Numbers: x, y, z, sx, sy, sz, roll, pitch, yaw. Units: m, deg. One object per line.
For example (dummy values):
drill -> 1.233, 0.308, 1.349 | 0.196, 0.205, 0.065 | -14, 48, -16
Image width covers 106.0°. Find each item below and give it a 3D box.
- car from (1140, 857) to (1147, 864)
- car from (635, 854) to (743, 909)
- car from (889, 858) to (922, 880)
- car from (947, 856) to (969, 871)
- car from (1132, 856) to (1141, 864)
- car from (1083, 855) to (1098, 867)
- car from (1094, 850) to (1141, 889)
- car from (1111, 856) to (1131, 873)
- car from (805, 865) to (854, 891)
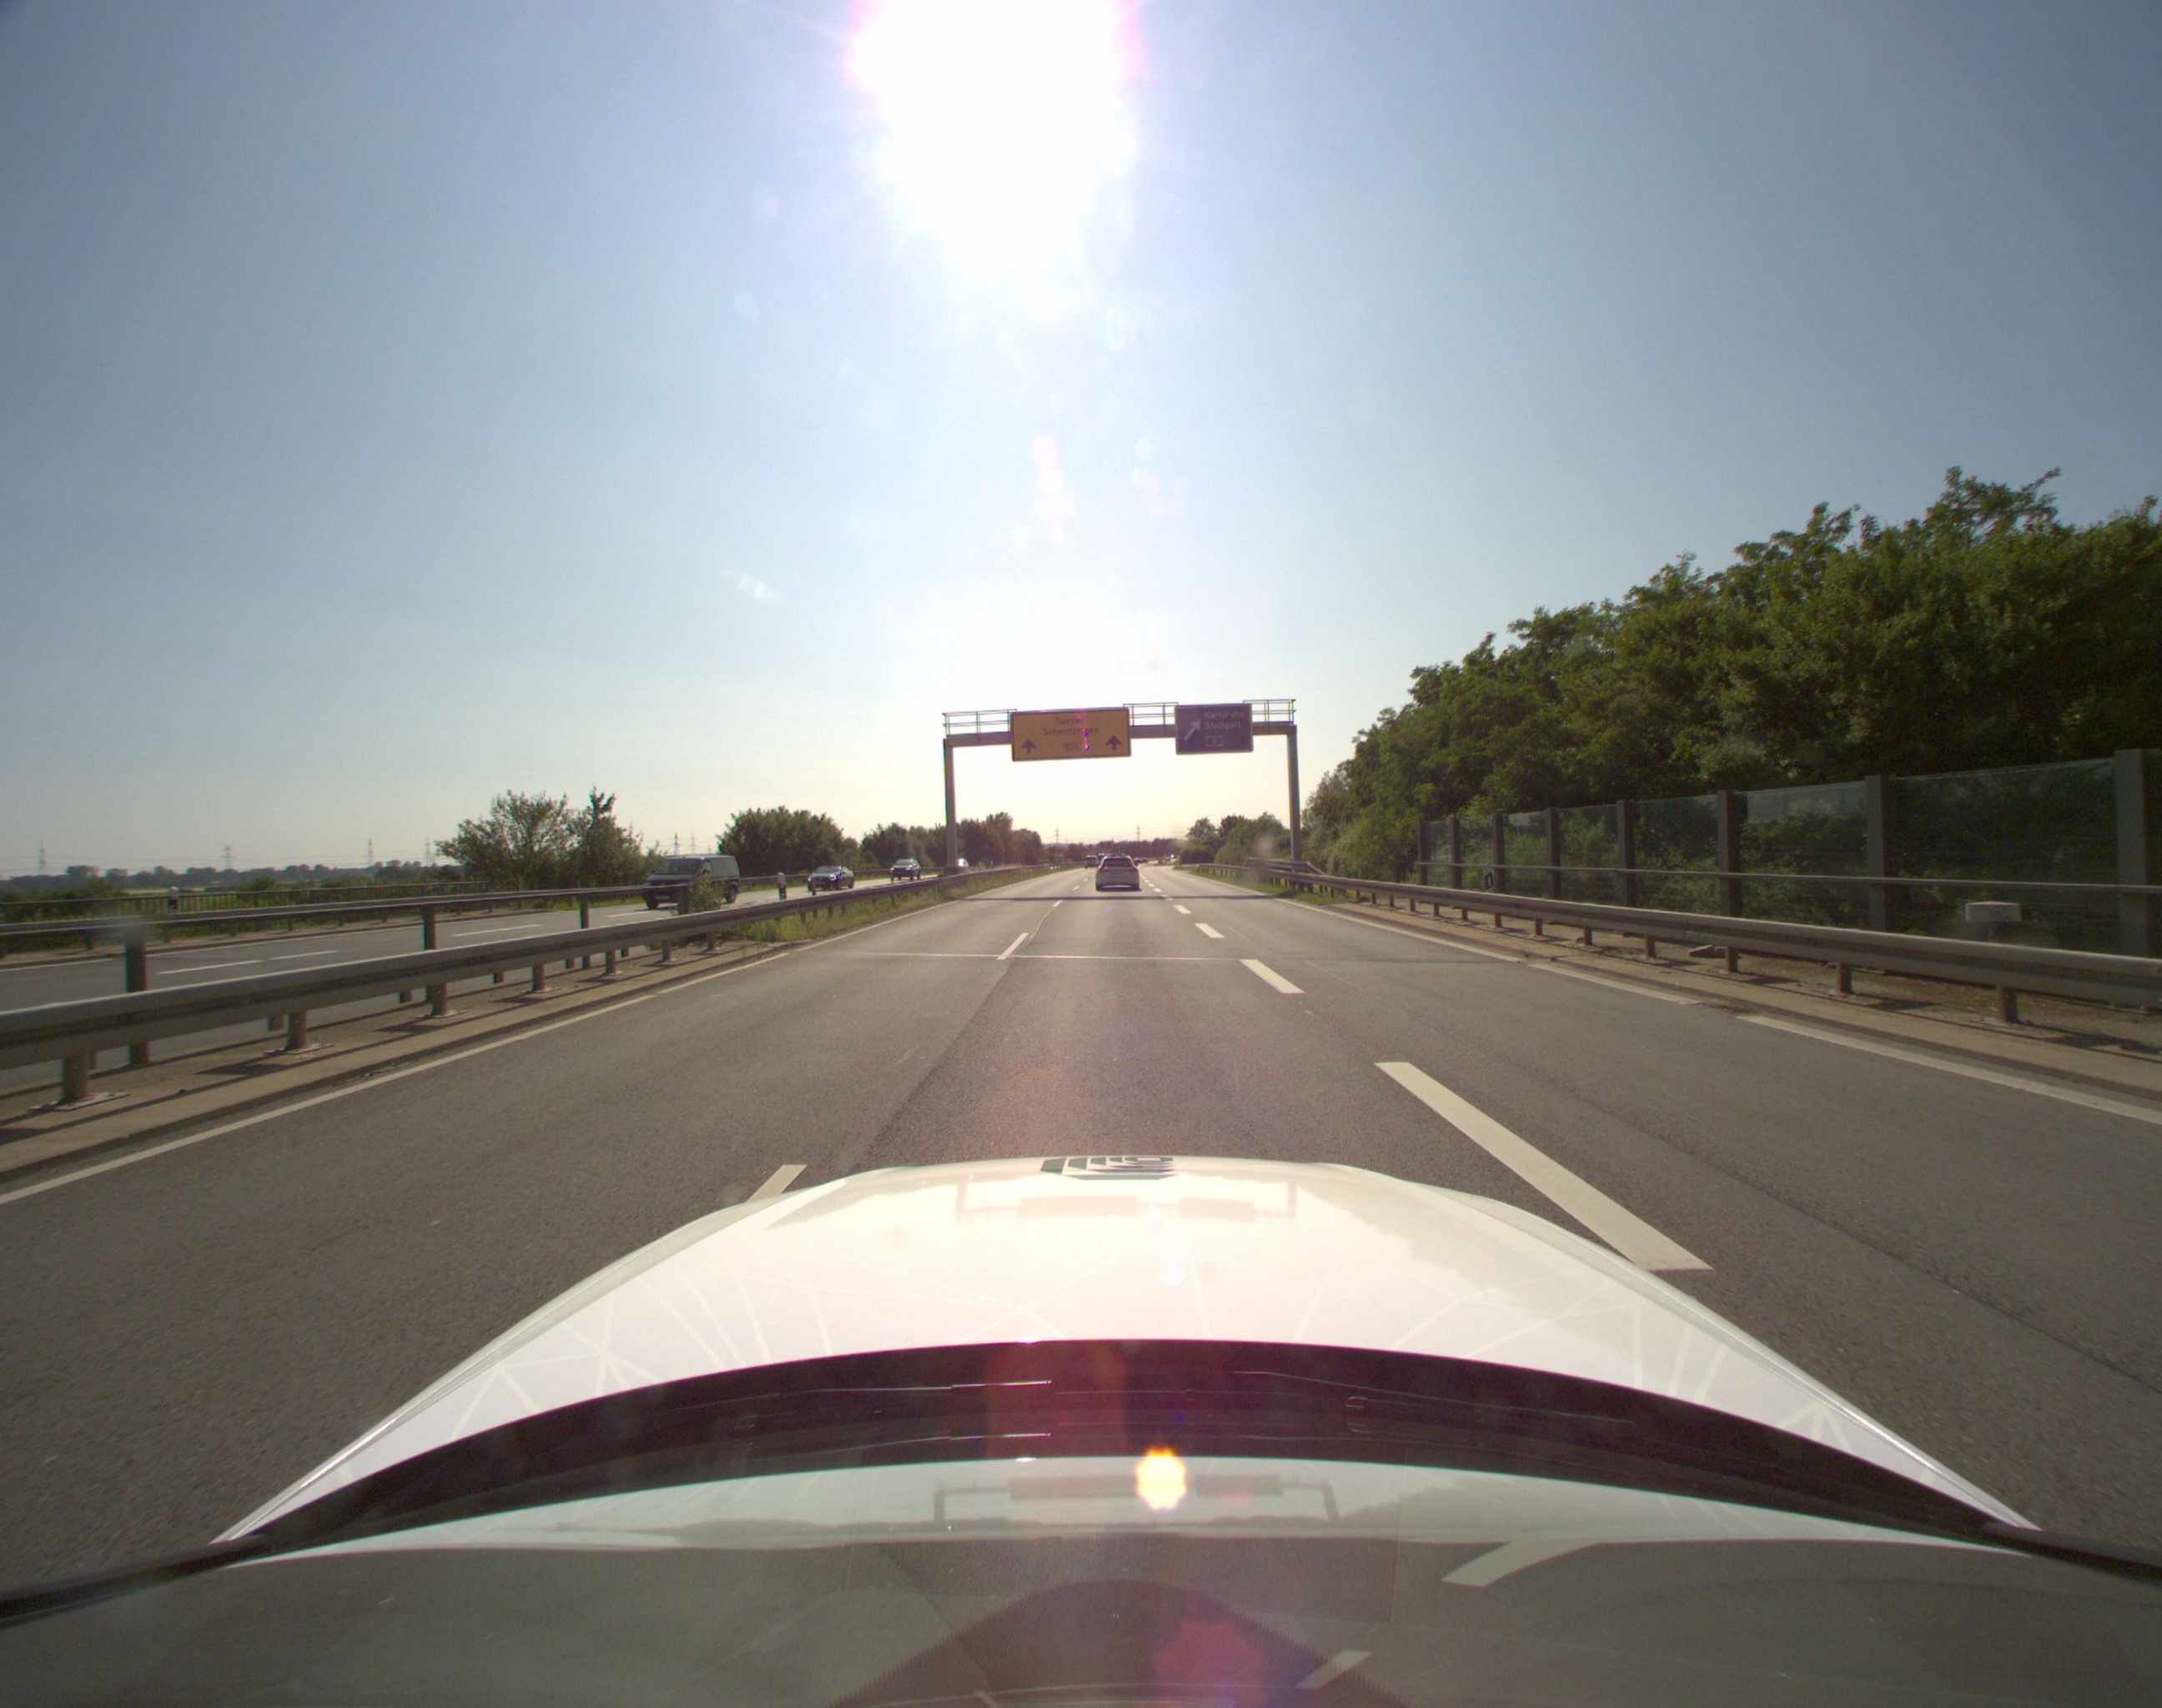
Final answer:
car -> 16.583, 1.697, 215.271 | 1.833, 1.698, 4.004 | -1, -1, 4
car -> -15.136, 0.998, 31.755 | 1.987, 1.906, 4.418 | -2, 0, 1
car -> -14.183, 1.202, 66.007 | 1.727, 1.617, 4.002 | -1, 0, 0
car -> -13.942, 1.103, 92.360 | 1.896, 1.620, 4.627 | 0, 0, -1
car -> 12.898, 1.449, 189.059 | 1.834, 1.802, 4.003 | -1, -1, 3
car -> 1.098, 0.859, 99.422 | 1.787, 1.503, 4.042 | -1, 0, 0
car -> 1.571, 0.622, 35.830 | 1.951, 1.601, 4.108 | 0, 0, 1
car -> 3.672, 0.936, 74.786 | 1.786, 1.543, 3.673 | -1, 0, 2
car -> -14.313, 1.340, 46.522 | 1.561, 1.270, 3.715 | -1, 0, 0
